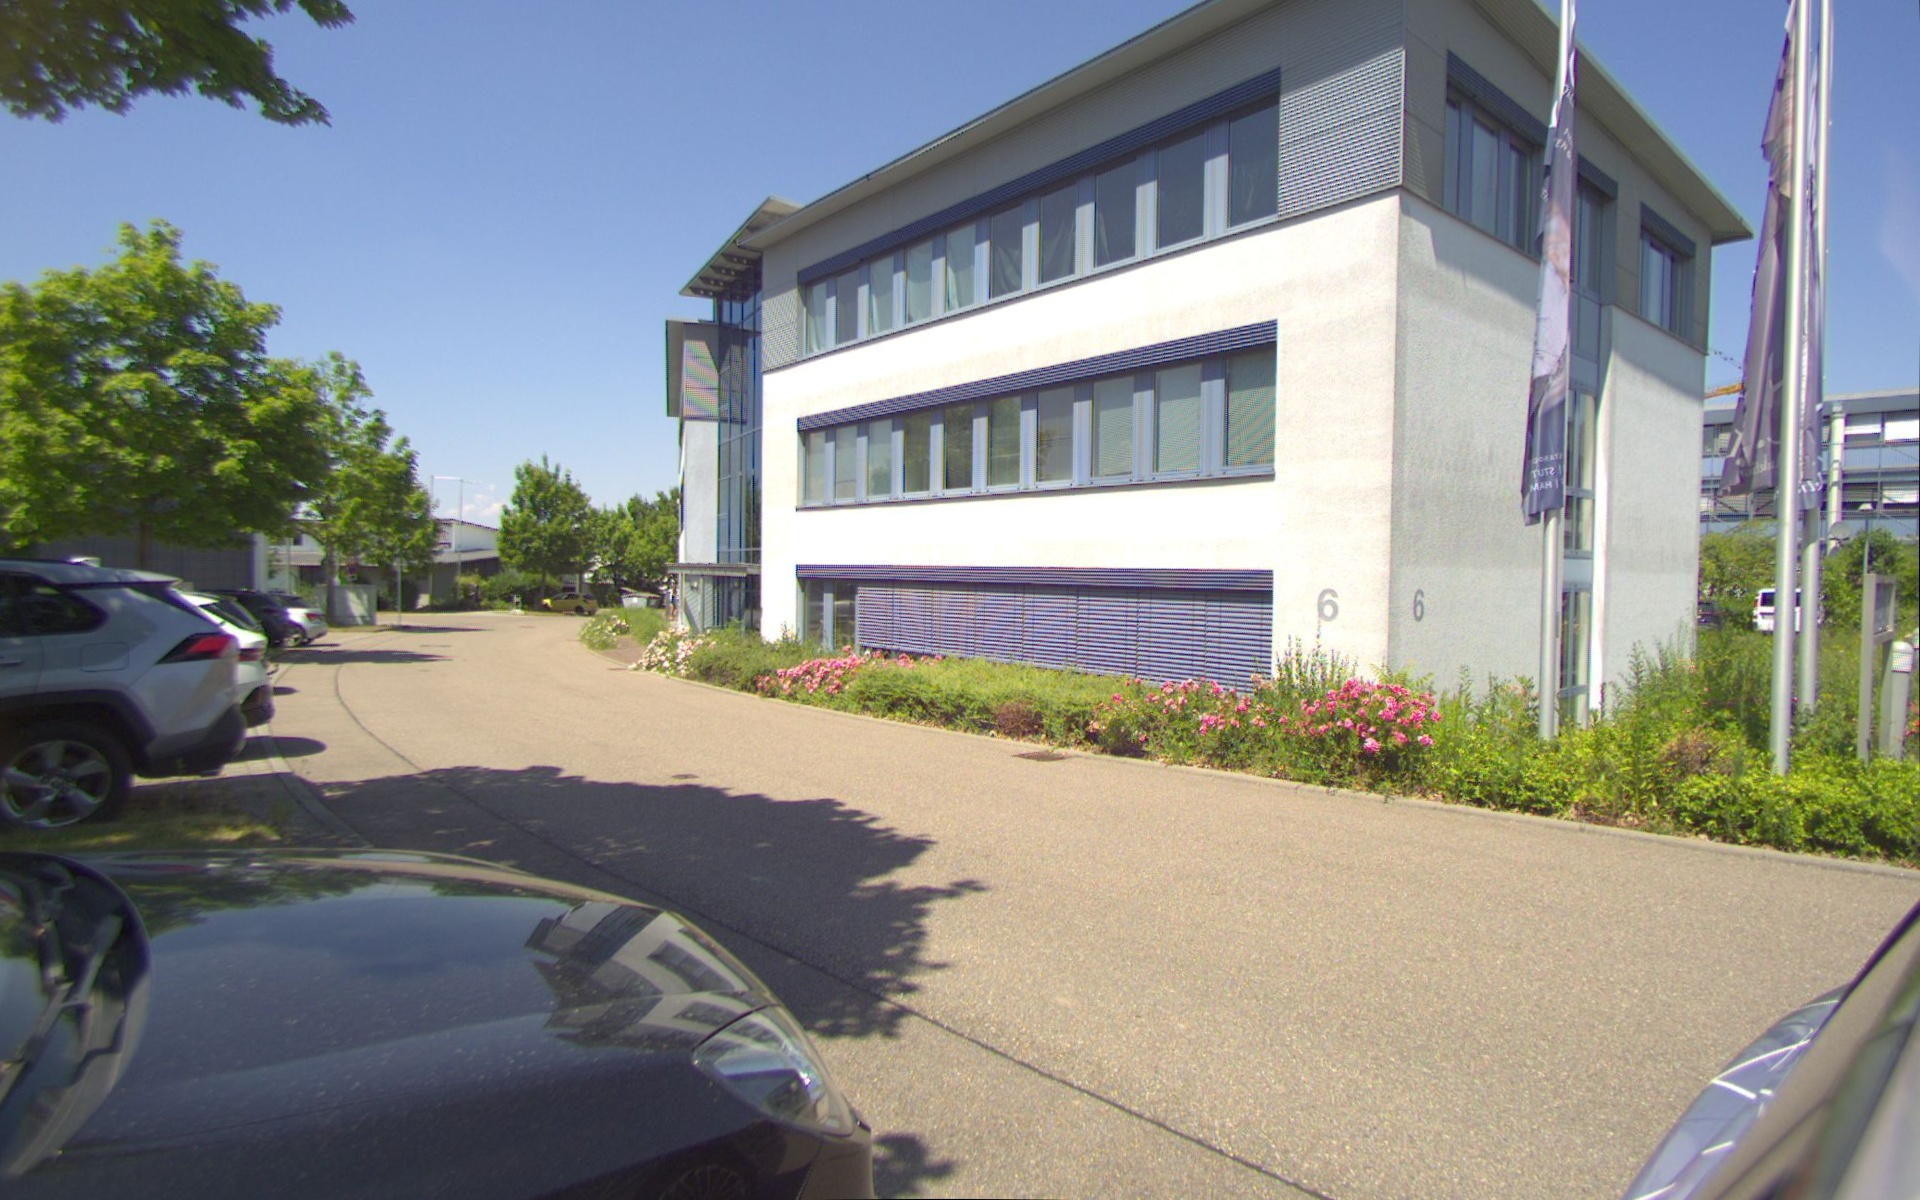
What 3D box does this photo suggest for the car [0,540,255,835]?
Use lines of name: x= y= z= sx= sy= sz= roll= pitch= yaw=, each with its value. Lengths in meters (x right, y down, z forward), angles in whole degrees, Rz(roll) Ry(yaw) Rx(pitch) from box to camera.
car: x=-6.727 y=0.468 z=5.757 sx=4.257 sy=1.664 sz=1.854 roll=1 pitch=0 yaw=-42

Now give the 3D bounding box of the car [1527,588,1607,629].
car: x=24.524 y=0.298 z=40.843 sx=3.933 sy=1.565 sz=1.785 roll=-1 pitch=1 yaw=-43

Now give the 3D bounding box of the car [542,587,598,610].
car: x=-26.073 y=-0.121 z=67.628 sx=3.164 sy=1.460 sz=1.584 roll=0 pitch=0 yaw=11

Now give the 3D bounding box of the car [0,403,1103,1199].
car: x=-1.983 y=0.631 z=0.766 sx=4.489 sy=1.568 sz=1.760 roll=0 pitch=1 yaw=-44

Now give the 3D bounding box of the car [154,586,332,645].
car: x=-18.747 y=0.404 z=26.645 sx=3.515 sy=1.461 sz=1.639 roll=1 pitch=0 yaw=-24

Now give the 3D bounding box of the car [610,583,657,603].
car: x=-25.512 y=-0.555 z=79.098 sx=3.164 sy=1.460 sz=1.584 roll=0 pitch=0 yaw=11

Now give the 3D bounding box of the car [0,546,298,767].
car: x=-7.917 y=0.413 z=8.139 sx=4.130 sy=1.664 sz=1.658 roll=1 pitch=0 yaw=-42

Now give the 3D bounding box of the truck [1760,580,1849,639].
truck: x=29.064 y=0.275 z=34.804 sx=3.935 sy=1.917 sz=1.995 roll=0 pitch=1 yaw=-45

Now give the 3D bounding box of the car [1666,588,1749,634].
car: x=27.629 y=0.355 z=37.357 sx=3.933 sy=1.565 sz=1.785 roll=-1 pitch=1 yaw=-43

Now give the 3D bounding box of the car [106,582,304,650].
car: x=-18.032 y=0.382 z=24.362 sx=3.515 sy=1.545 sz=1.639 roll=1 pitch=0 yaw=-24

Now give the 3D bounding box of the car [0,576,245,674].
car: x=-15.465 y=0.430 z=18.133 sx=4.092 sy=1.625 sz=1.663 roll=1 pitch=0 yaw=-28

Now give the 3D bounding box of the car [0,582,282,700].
car: x=-11.917 y=0.529 z=14.060 sx=4.097 sy=1.505 sz=1.661 roll=1 pitch=0 yaw=-34
